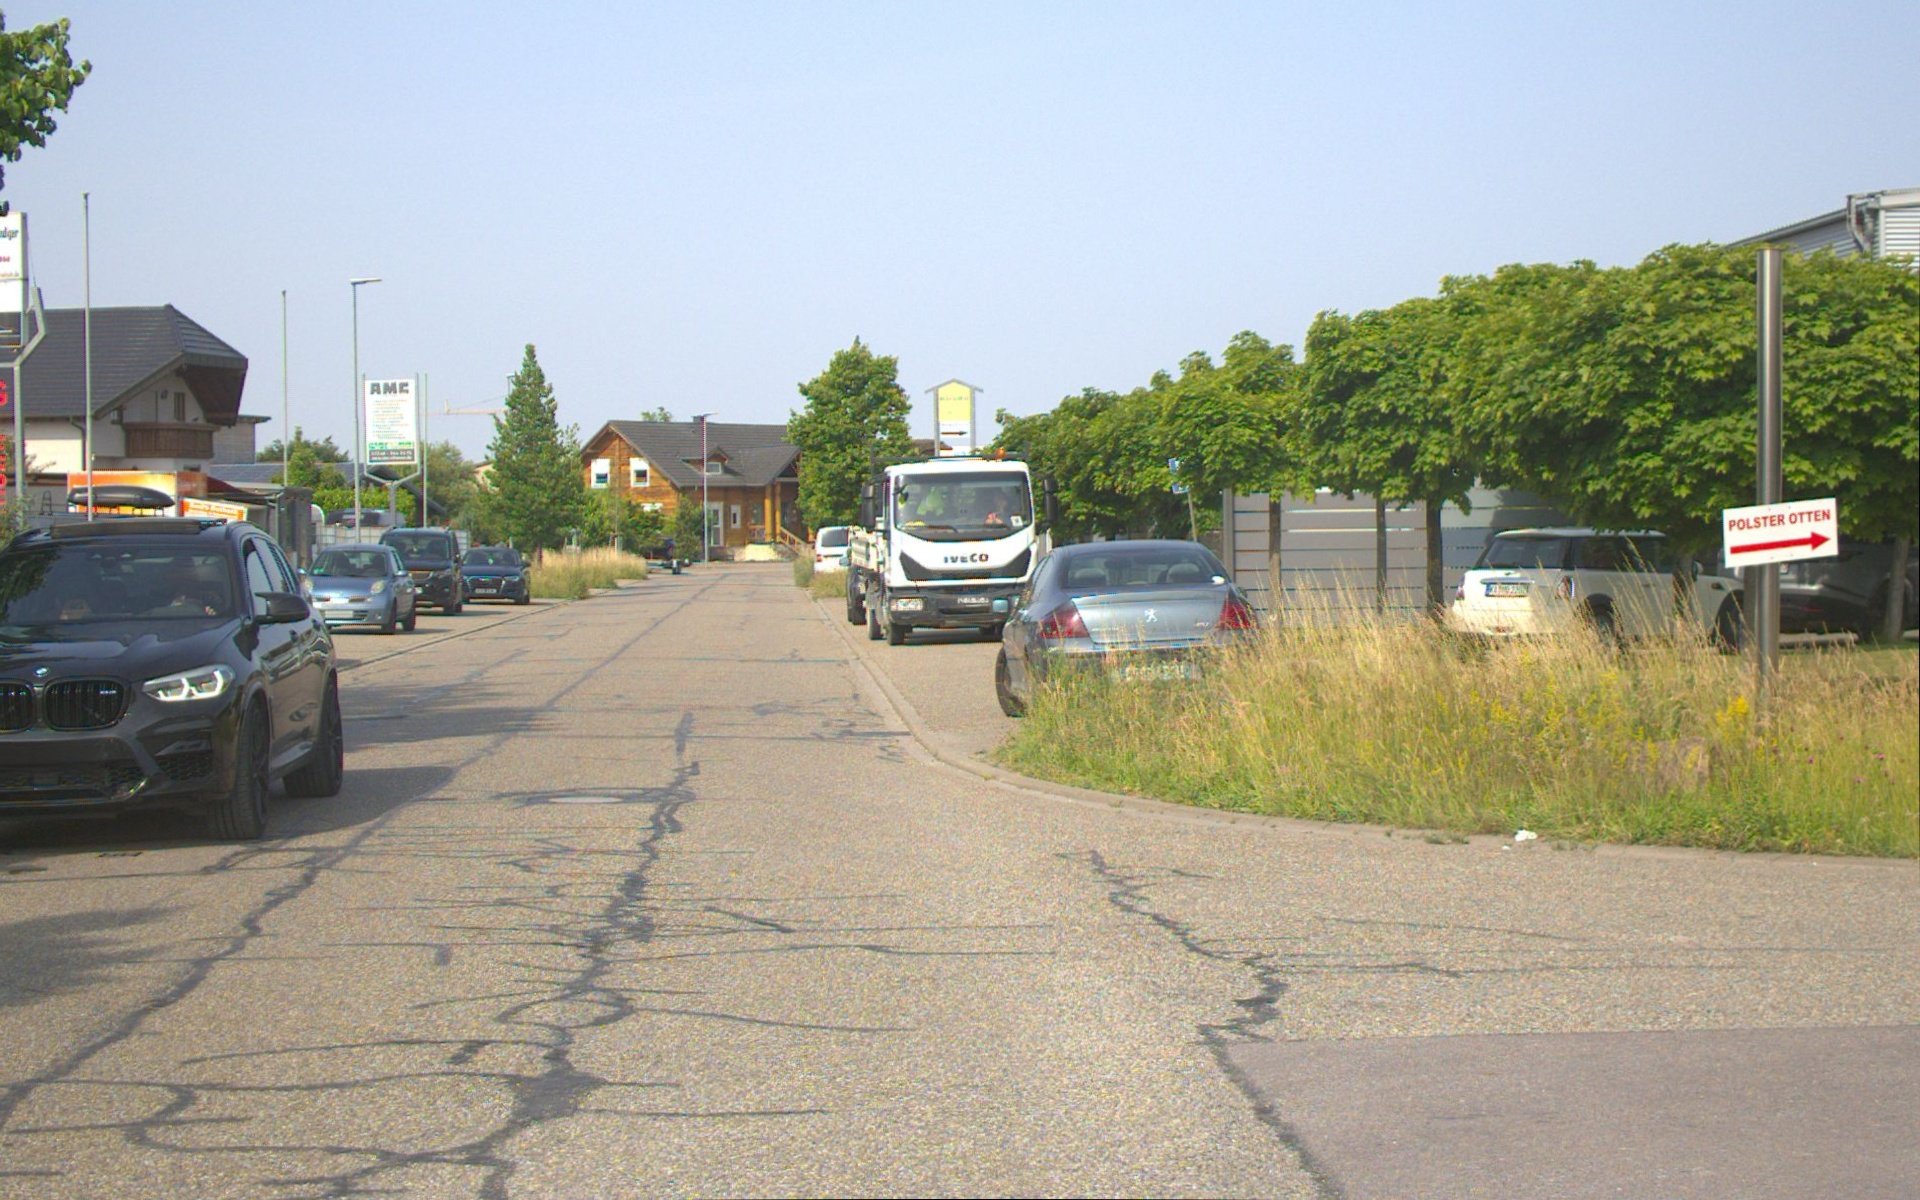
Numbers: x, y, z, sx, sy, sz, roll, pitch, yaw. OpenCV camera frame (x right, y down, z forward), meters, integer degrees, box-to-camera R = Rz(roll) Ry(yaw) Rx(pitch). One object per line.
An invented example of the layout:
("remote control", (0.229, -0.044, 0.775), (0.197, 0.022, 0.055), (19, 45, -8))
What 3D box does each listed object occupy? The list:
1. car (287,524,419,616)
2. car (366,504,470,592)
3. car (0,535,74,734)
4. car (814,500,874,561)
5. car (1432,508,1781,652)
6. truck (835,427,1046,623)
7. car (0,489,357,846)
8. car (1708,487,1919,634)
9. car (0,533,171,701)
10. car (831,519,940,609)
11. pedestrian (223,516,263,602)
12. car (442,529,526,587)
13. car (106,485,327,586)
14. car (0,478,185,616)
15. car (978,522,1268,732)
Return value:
("car", (-10.349, -0.533, 58.791), (1.633, 1.512, 3.606), (1, 1, -1))
("car", (-11.469, -1.119, 72.966), (1.799, 1.768, 4.203), (1, 1, -4))
("car", (-8.204, 0.251, 26.979), (1.566, 1.533, 3.688), (1, 1, -1))
("car", (-3.823, -2.274, 112.587), (1.837, 1.917, 3.757), (-2, 1, -3))
("car", (6.772, -0.234, 35.851), (3.688, 1.375, 1.687), (-2, 2, -43))
("truck", (-0.384, -1.097, 50.707), (2.358, 2.672, 6.512), (-1, 1, -7))
("car", (-4.580, 0.296, 19.009), (1.856, 1.709, 4.227), (-2, 1, -2))
("car", (10.491, -0.441, 39.369), (1.686, 1.583, 4.522), (2, 1, 43))
("car", (-8.492, 0.110, 31.748), (1.578, 1.438, 3.964), (1, 1, -2))
("car", (-1.387, -0.666, 62.427), (1.794, 1.555, 4.001), (-1, 1, -3))
("pedestrian", (-14.498, -0.830, 69.510), (0.562, 1.709, 0.534), (-2, 2, -41))
("car", (-11.831, -1.063, 85.650), (1.799, 1.382, 3.639), (1, 1, -4))
("car", (-20.078, -1.741, 92.926), (5.161, 2.577, 2.575), (-1, 1, 18))
("car", (-16.546, -0.950, 62.036), (4.626, 2.408, 2.000), (-1, 1, -1))
("car", (1.188, 0.148, 26.974), (1.794, 1.512, 4.425), (0, 1, -4))
